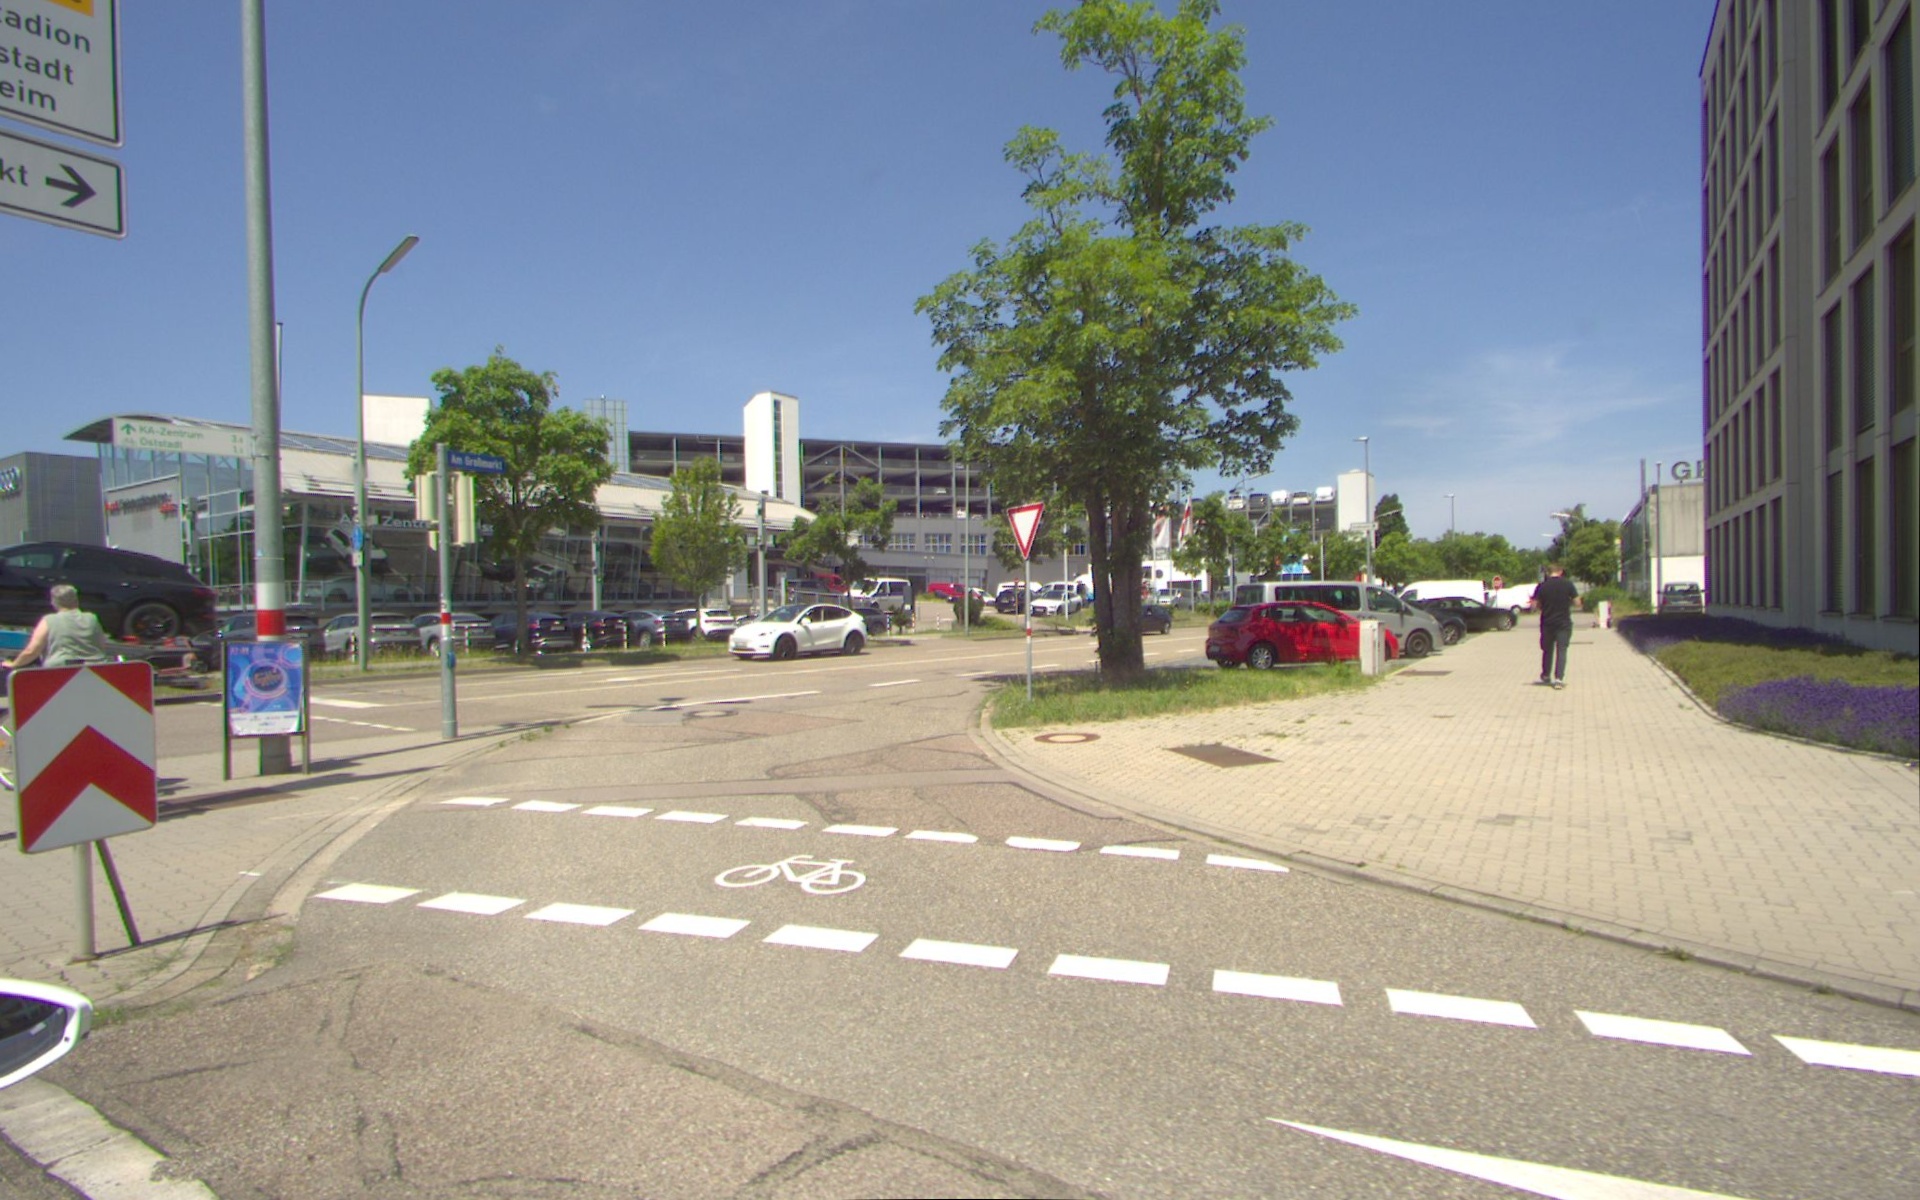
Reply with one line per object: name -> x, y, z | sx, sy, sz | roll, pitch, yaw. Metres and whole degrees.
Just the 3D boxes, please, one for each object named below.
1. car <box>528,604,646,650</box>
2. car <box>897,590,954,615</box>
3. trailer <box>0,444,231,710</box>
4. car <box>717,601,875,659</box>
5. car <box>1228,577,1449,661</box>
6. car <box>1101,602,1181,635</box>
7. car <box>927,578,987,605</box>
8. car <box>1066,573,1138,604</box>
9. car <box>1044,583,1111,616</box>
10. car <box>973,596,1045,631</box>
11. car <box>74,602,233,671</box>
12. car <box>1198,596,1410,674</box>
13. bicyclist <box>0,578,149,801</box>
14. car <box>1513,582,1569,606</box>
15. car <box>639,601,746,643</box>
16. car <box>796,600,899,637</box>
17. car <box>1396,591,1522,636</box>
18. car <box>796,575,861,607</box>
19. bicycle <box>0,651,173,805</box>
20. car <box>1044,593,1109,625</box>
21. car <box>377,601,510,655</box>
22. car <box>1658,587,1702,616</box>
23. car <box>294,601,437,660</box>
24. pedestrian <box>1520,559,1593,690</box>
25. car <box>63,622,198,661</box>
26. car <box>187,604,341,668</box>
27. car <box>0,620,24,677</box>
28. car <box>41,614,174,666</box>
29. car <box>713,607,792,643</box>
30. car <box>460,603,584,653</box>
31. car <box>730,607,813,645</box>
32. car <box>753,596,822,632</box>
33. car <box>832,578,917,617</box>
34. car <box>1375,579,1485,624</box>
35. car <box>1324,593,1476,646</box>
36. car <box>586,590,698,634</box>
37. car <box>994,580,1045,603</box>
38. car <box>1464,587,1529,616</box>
car -> -14.060, 0.992, 37.691 | 4.409, 1.661, 1.824 | 0, 0, 31
car -> -2.602, 0.227, 75.407 | 3.943, 1.810, 1.730 | -1, 0, 32
trailer -> -17.230, -0.330, 15.176 | 3.060, 4.134, 9.564 | -1, -1, 41
car -> -4.850, 0.842, 30.280 | 1.974, 1.609, 4.663 | 1, 0, 37
car -> 9.165, 0.435, 24.332 | 4.814, 1.839, 1.704 | -1, 0, -11
car -> 8.378, 0.870, 46.101 | 1.654, 1.429, 4.201 | -1, -2, 42
car -> -0.266, -0.675, 78.947 | 4.285, 2.040, 1.991 | -1, 0, 30
car -> 9.918, -0.806, 70.008 | 4.578, 2.040, 1.989 | -1, 0, 32
car -> 7.600, -0.041, 64.980 | 3.943, 2.040, 1.840 | -1, 0, 32
car -> 2.988, 0.832, 61.488 | 3.943, 2.040, 1.989 | -1, 0, 32
car -> -21.229, 0.909, 26.328 | 4.207, 1.661, 1.990 | 0, 0, 32
car -> 7.214, 0.711, 21.165 | 3.924, 1.454, 1.609 | -2, 0, -9
bicyclist -> -7.479, 0.719, 8.464 | 0.742, 1.772, 0.733 | 0, 0, 28
car -> 53.153, -0.546, 91.597 | 4.303, 2.149, 2.081 | -1, 0, 36
car -> -11.294, 0.890, 42.239 | 4.409, 1.662, 1.824 | 0, 1, 32
car -> -5.441, 0.868, 48.734 | 4.703, 1.662, 1.820 | -1, 1, -36
car -> 19.837, 0.564, 39.943 | 4.075, 1.558, 1.815 | -3, -1, 2
car -> -9.011, -0.596, 68.679 | 3.937, 2.040, 1.992 | -1, 0, 27
bicycle -> -7.700, 1.041, 8.615 | 1.891, 1.142, 0.786 | 0, 0, 28
car -> 7.896, 0.621, 67.923 | 3.943, 2.040, 1.989 | -1, 0, 32
car -> -17.019, 0.890, 32.966 | 4.459, 1.662, 1.881 | 0, 1, 32
car -> 40.084, 0.086, 55.805 | 1.765, 1.542, 3.556 | -1, 0, 33
car -> -18.326, 0.891, 30.845 | 4.377, 1.662, 1.989 | 0, 1, 32
pedestrian -> 8.861, 0.365, 14.868 | 0.764, 1.869, 0.861 | -2, 0, 40
car -> -34.790, 1.686, 42.106 | 1.694, 1.480, 4.083 | 0, 0, 32
car -> -19.849, 0.976, 28.533 | 4.492, 1.661, 1.989 | 0, 1, 32
car -> -26.829, 1.282, 24.997 | 1.972, 1.476, 4.729 | 0, 0, 34
car -> -36.772, 1.684, 43.291 | 1.972, 2.040, 3.978 | -1, 0, 32
car -> -10.842, 1.288, 52.334 | 3.713, 1.795, 1.761 | -1, 0, -28
car -> -15.481, 0.951, 35.343 | 4.409, 1.662, 1.824 | 0, 1, 32
car -> -9.417, 1.263, 50.090 | 3.660, 1.801, 1.738 | -1, 0, -32
car -> -10.178, 0.795, 59.270 | 1.839, 2.040, 3.733 | -1, 0, 41
car -> -4.642, -0.148, 54.958 | 1.971, 2.040, 5.117 | -1, 0, 32
car -> 27.246, 0.095, 58.294 | 5.703, 2.567, 2.097 | 0, 0, 23
car -> 13.378, 0.576, 30.522 | 3.924, 1.483, 1.718 | -1, 0, -9
car -> -12.702, 0.473, 39.963 | 4.409, 1.662, 1.824 | 0, 1, 32
car -> 5.537, -0.773, 93.167 | 4.256, 2.040, 1.989 | -1, 0, 32
car -> 39.531, 0.148, 73.801 | 3.948, 2.040, 1.986 | -1, 0, 37
